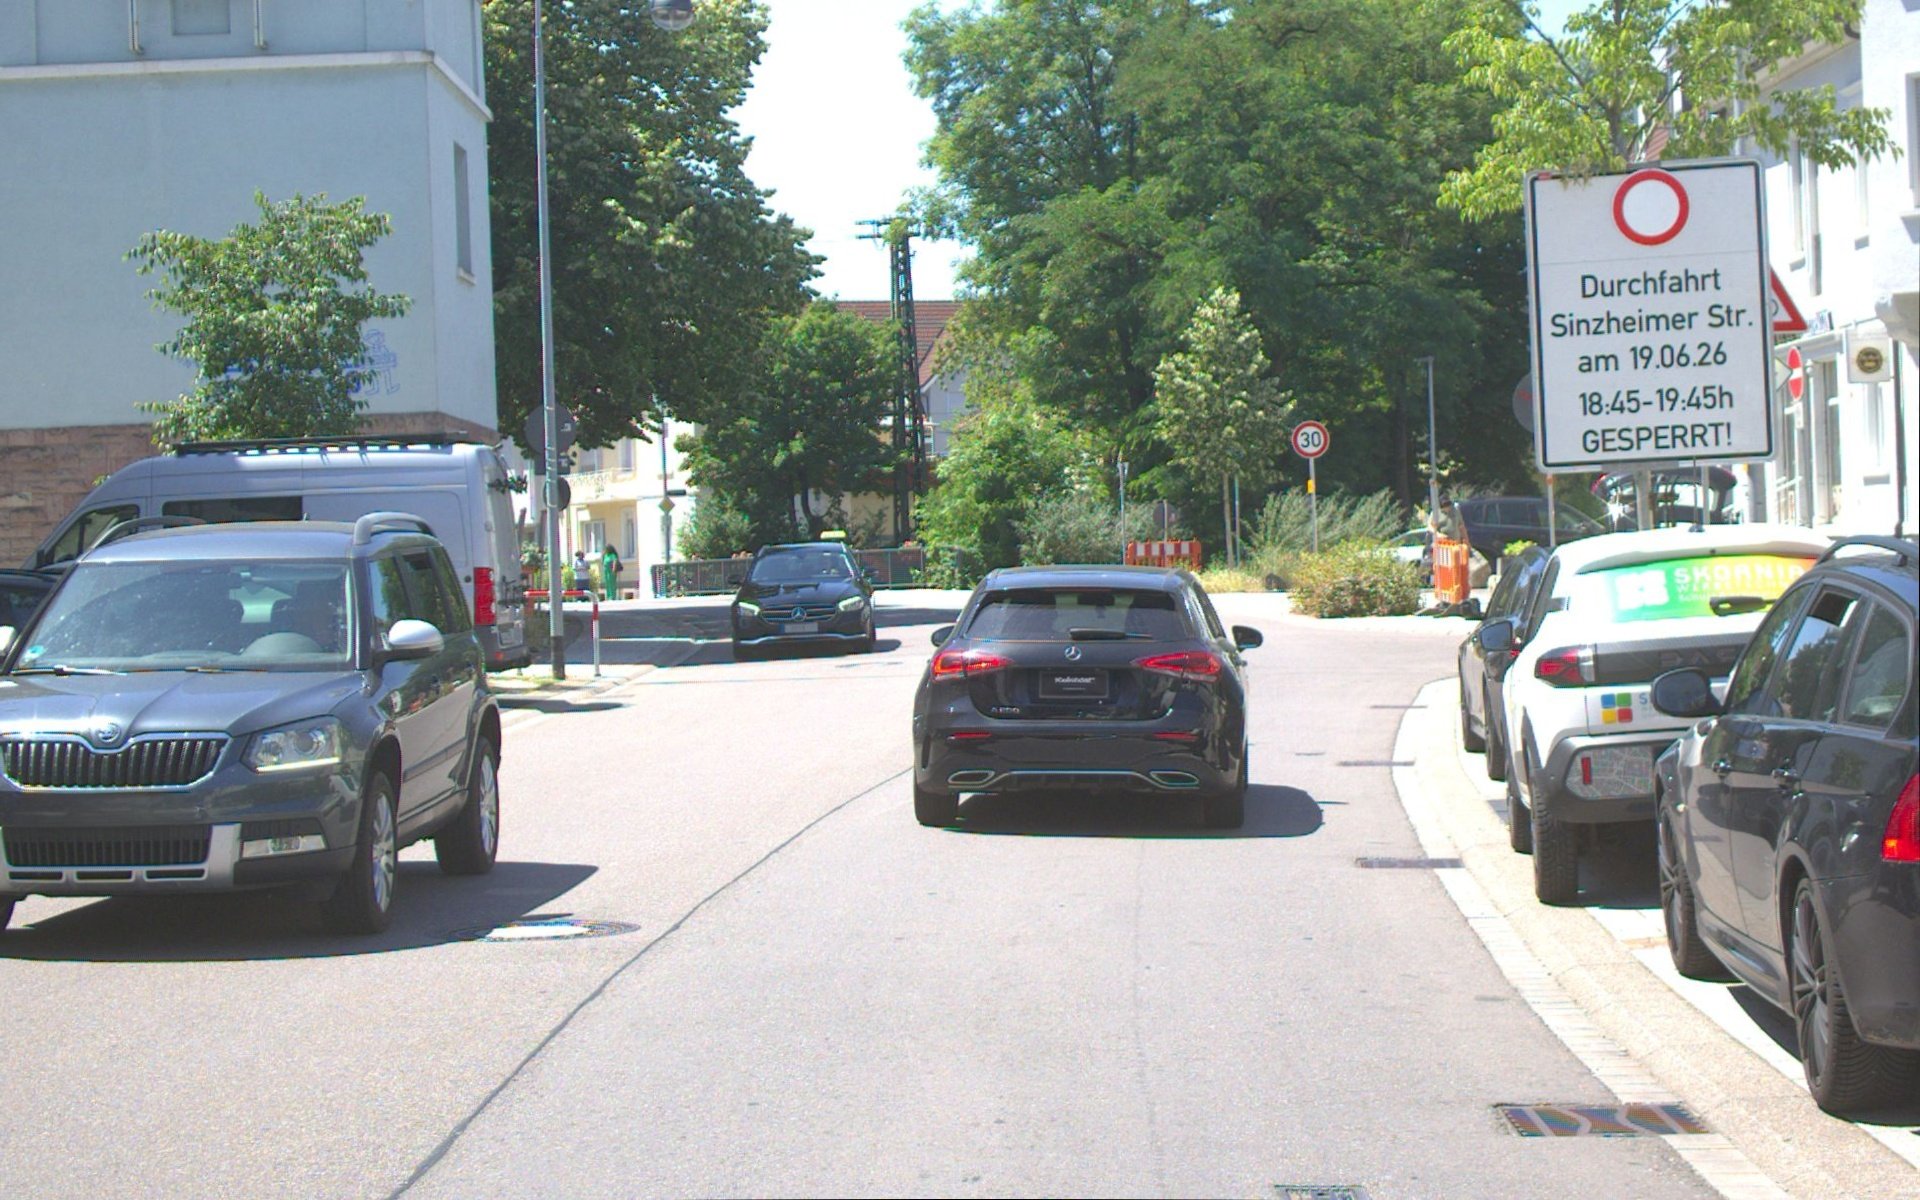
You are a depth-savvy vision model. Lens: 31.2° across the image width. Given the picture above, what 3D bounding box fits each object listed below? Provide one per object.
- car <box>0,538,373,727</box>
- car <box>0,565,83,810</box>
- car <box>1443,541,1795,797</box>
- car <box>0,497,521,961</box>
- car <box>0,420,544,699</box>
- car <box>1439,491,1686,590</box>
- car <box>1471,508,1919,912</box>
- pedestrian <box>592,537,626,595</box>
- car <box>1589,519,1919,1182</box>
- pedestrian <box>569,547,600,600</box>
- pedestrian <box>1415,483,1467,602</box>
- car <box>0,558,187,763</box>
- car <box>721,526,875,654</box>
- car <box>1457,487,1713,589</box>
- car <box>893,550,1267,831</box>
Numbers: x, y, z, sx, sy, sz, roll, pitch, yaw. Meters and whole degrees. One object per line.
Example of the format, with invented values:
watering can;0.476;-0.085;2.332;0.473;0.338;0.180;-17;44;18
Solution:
car;-7.582;0.273;30.271;4.454;1.586;2.000;0;0;1
car;-7.563;0.516;20.616;4.033;1.425;2.000;0;0;4
car;4.135;0.375;22.210;1.724;1.400;4.608;-3;0;5
car;-3.111;0.459;14.688;1.811;1.695;4.076;-1;1;2
car;-7.311;-0.408;35.102;5.768;2.723;2.291;0;0;2
car;10.755;-1.053;61.573;4.075;1.710;1.856;-1;0;0
car;3.284;0.407;15.456;1.738;1.481;4.053;-4;0;7
pedestrian;-10.670;-1.041;104.471;0.661;1.735;0.701;-2;0;-41
car;3.036;0.506;9.714;1.833;1.477;4.095;-4;0;2
pedestrian;-11.500;-0.814;105.237;0.614;1.607;0.838;-2;0;-29
pedestrian;7.471;-0.897;53.400;0.746;1.790;0.843;-2;2;9
car;-7.929;0.429;25.055;4.199;1.433;1.886;0;0;-3
car;-2.158;-0.186;46.964;1.893;1.548;4.799;-2;2;-1
car;10.806;-1.073;59.611;4.075;1.710;1.856;-1;0;0
car;0.795;0.494;19.846;1.828;1.437;3.999;-1;-1;7
